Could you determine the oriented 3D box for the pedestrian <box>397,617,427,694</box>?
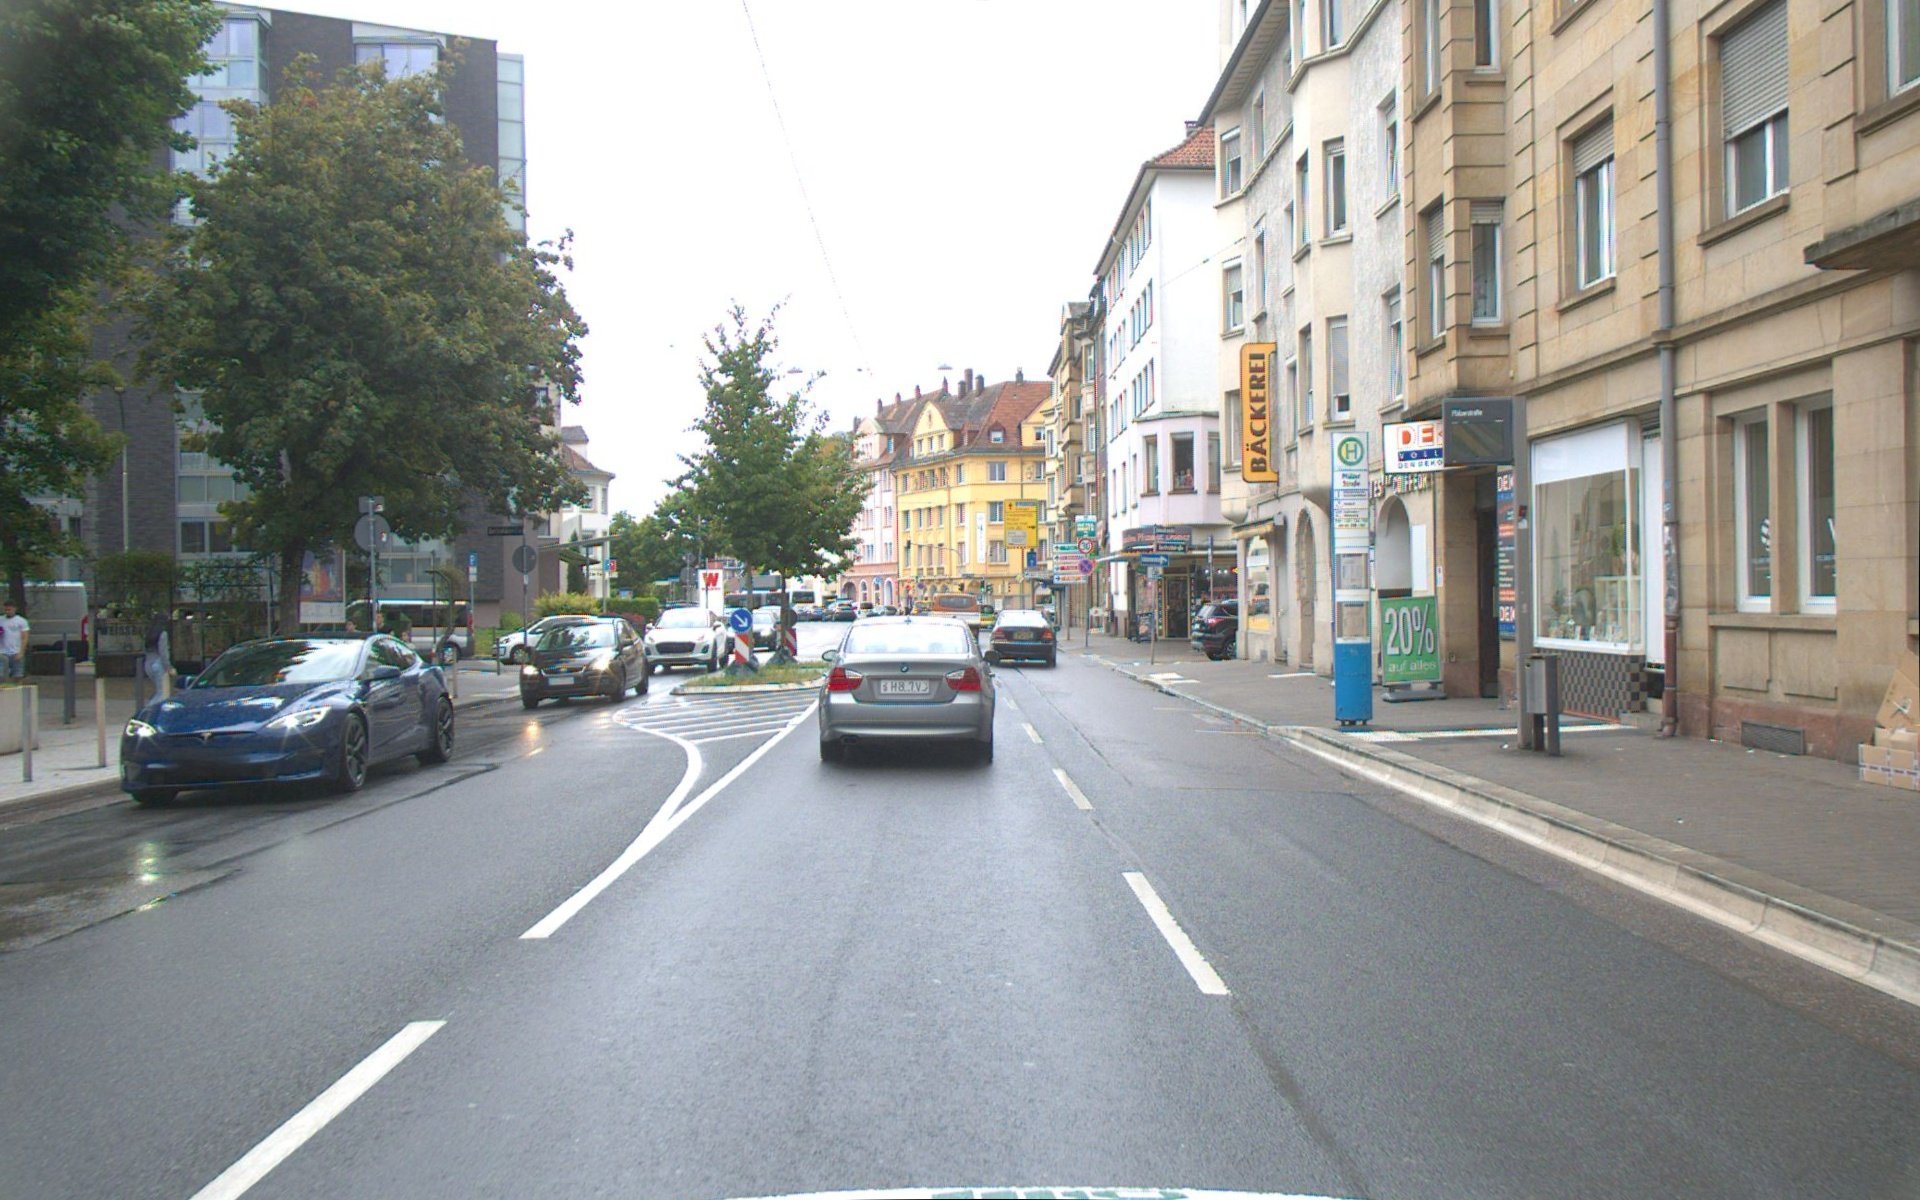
[{"bbox_3d":[-10.314,1.036,31.152,0.424,1.435,0.481,0,0,-4],"label":"pedestrian"}]

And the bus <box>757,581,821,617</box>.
[{"bbox_3d":[-15.768,-0.113,151.854,2.874,3.159,9.064,-1,0,-26],"label":"bus"}]

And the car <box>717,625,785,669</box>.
[{"bbox_3d":[-7.683,1.715,61.120,1.973,1.450,4.499,2,0,-1],"label":"car"}]

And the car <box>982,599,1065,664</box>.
[{"bbox_3d":[1.570,0.792,42.256,1.763,1.590,3.997,0,-1,-3],"label":"car"}]

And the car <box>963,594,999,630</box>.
[{"bbox_3d":[1.192,0.681,96.443,1.953,2.049,3.998,0,0,-2],"label":"car"}]

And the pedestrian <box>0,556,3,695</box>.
[{"bbox_3d":[-12.624,0.331,21.093,0.646,1.790,0.715,0,0,-24],"label":"pedestrian"}]

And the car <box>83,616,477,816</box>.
[{"bbox_3d":[-6.383,0.987,16.242,1.915,1.538,4.910,-2,0,-2],"label":"car"}]

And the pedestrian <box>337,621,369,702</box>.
[{"bbox_3d":[-11.444,1.156,31.187,0.450,1.499,0.530,0,0,-4],"label":"pedestrian"}]

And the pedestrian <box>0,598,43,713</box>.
[{"bbox_3d":[-15.514,0.894,27.219,0.713,1.858,0.715,0,0,-29],"label":"pedestrian"}]

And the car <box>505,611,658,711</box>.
[{"bbox_3d":[-6.726,1.037,29.822,1.916,1.584,4.241,-2,0,-3],"label":"car"}]

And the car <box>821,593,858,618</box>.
[{"bbox_3d":[-10.114,0.426,138.570,1.966,2.049,3.974,-1,0,-22],"label":"car"}]

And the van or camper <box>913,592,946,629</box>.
[{"bbox_3d":[-1.923,0.653,103.527,1.818,2.184,4.139,2,0,-4],"label":"van or camper"}]

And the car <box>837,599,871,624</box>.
[{"bbox_3d":[-9.798,1.080,152.391,1.740,2.218,3.967,2,-1,-26],"label":"car"}]

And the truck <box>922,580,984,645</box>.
[{"bbox_3d":[-0.306,0.445,61.269,2.179,2.289,5.061,0,0,-1],"label":"truck"}]

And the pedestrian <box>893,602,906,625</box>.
[{"bbox_3d":[-4.265,0.951,116.372,0.750,1.556,0.505,1,-2,-22],"label":"pedestrian"}]

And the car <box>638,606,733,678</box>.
[{"bbox_3d":[-6.903,1.017,41.941,1.783,1.596,4.087,-3,0,-2],"label":"car"}]

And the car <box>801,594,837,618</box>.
[{"bbox_3d":[-12.308,0.562,144.194,1.966,2.049,3.973,-1,0,-22],"label":"car"}]

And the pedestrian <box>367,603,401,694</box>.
[{"bbox_3d":[-10.868,0.902,31.223,0.488,1.702,0.552,0,0,-4],"label":"pedestrian"}]

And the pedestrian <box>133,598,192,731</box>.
[{"bbox_3d":[-11.400,0.903,23.664,0.711,1.858,0.848,0,0,-24],"label":"pedestrian"}]

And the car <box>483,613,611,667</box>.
[{"bbox_3d":[-12.911,1.227,51.763,3.546,1.597,1.720,0,0,-34],"label":"car"}]

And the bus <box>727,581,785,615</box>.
[{"bbox_3d":[-19.754,-0.134,159.889,2.873,3.159,8.797,-1,0,-26],"label":"bus"}]

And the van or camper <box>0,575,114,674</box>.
[{"bbox_3d":[-22.851,0.548,39.512,4.554,2.306,2.189,2,0,-30],"label":"van or camper"}]

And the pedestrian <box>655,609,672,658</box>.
[{"bbox_3d":[-10.890,1.222,60.722,0.563,1.793,0.580,-1,0,-7],"label":"pedestrian"}]

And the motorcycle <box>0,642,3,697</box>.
[{"bbox_3d":[-18.627,1.238,30.185,2.009,1.005,0.797,2,0,14],"label":"motorcycle"}]

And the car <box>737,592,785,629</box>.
[{"bbox_3d":[-10.005,0.503,82.965,1.915,1.688,4.043,2,0,-14],"label":"car"}]

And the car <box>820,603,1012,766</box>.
[{"bbox_3d":[-0.478,0.785,17.405,1.763,1.490,4.369,0,0,-2],"label":"car"}]

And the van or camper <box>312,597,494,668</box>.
[{"bbox_3d":[-16.678,0.939,49.621,4.900,2.049,1.980,0,0,-31],"label":"van or camper"}]

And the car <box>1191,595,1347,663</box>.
[{"bbox_3d":[8.420,0.775,45.344,4.050,1.803,1.874,0,0,5],"label":"car"}]
